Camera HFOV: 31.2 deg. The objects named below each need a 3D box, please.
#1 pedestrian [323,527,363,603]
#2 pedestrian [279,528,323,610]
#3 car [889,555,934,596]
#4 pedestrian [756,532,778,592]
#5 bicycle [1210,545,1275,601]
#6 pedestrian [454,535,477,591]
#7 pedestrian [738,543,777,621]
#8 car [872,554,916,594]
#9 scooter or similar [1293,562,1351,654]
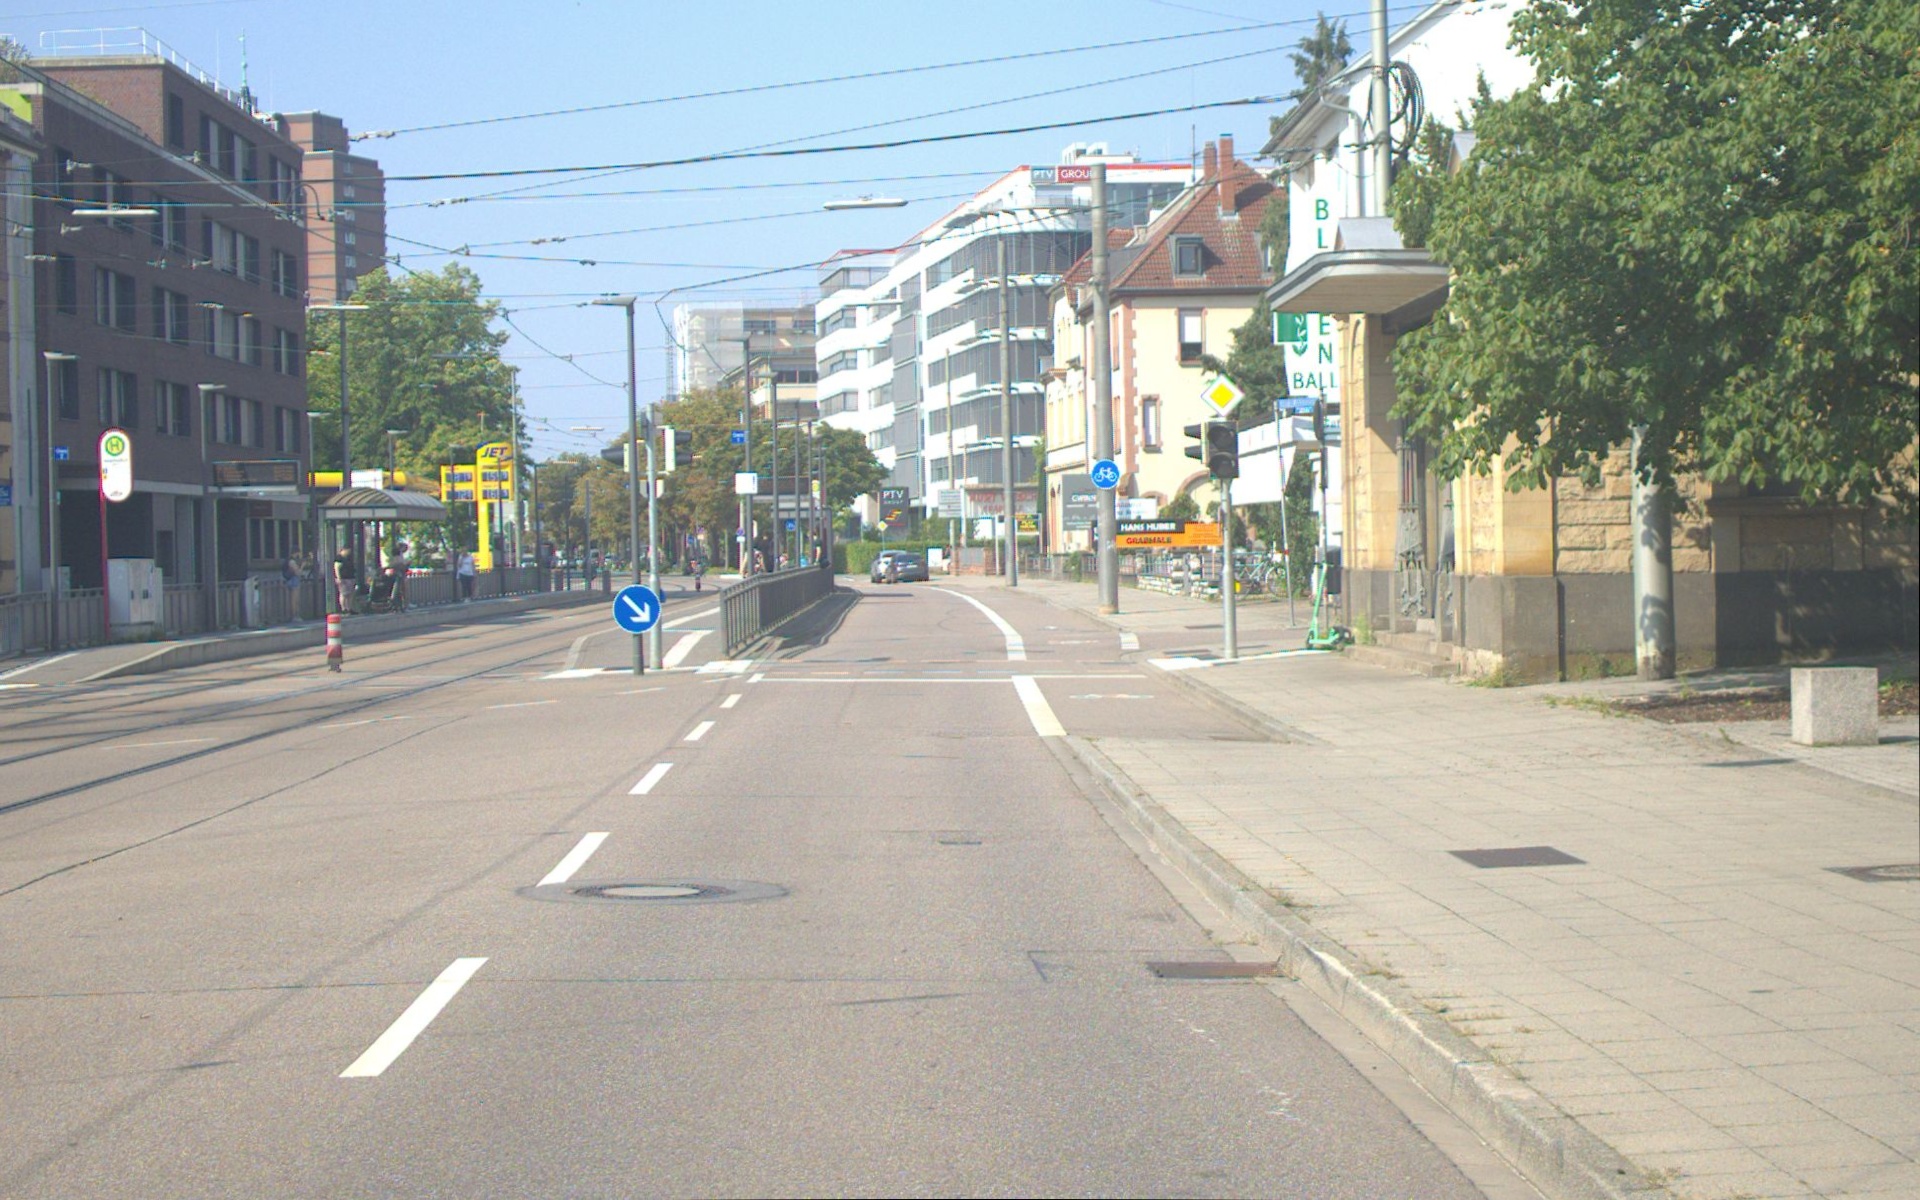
[{"bbox_3d":[-14.481,-0.832,80.756,0.708,1.741,0.799,-3,1,0],"label":"pedestrian"},{"bbox_3d":[-14.195,-0.675,74.038,0.708,1.717,0.799,-3,1,0],"label":"pedestrian"},{"bbox_3d":[-2.328,-1.207,165.380,2.011,1.852,4.000,-3,1,1],"label":"car"},{"bbox_3d":[-5.533,-1.085,98.400,0.536,1.697,0.582,-3,1,-3],"label":"pedestrian"},{"bbox_3d":[6.178,-0.591,75.296,0.731,1.129,2.840,-5,1,-8],"label":"bicycle"},{"bbox_3d":[-13.769,-1.037,95.765,0.532,1.525,0.702,-3,1,-7],"label":"pedestrian"},{"bbox_3d":[-4.527,-0.405,76.928,0.720,1.697,0.884,-3,1,0],"label":"pedestrian"},{"bbox_3d":[-3.267,-1.310,171.436,2.011,1.852,4.000,-3,1,1],"label":"car"},{"bbox_3d":[4.641,0.094,44.156,0.523,1.129,1.511,-3,1,0],"label":"scooter or similar"}]
